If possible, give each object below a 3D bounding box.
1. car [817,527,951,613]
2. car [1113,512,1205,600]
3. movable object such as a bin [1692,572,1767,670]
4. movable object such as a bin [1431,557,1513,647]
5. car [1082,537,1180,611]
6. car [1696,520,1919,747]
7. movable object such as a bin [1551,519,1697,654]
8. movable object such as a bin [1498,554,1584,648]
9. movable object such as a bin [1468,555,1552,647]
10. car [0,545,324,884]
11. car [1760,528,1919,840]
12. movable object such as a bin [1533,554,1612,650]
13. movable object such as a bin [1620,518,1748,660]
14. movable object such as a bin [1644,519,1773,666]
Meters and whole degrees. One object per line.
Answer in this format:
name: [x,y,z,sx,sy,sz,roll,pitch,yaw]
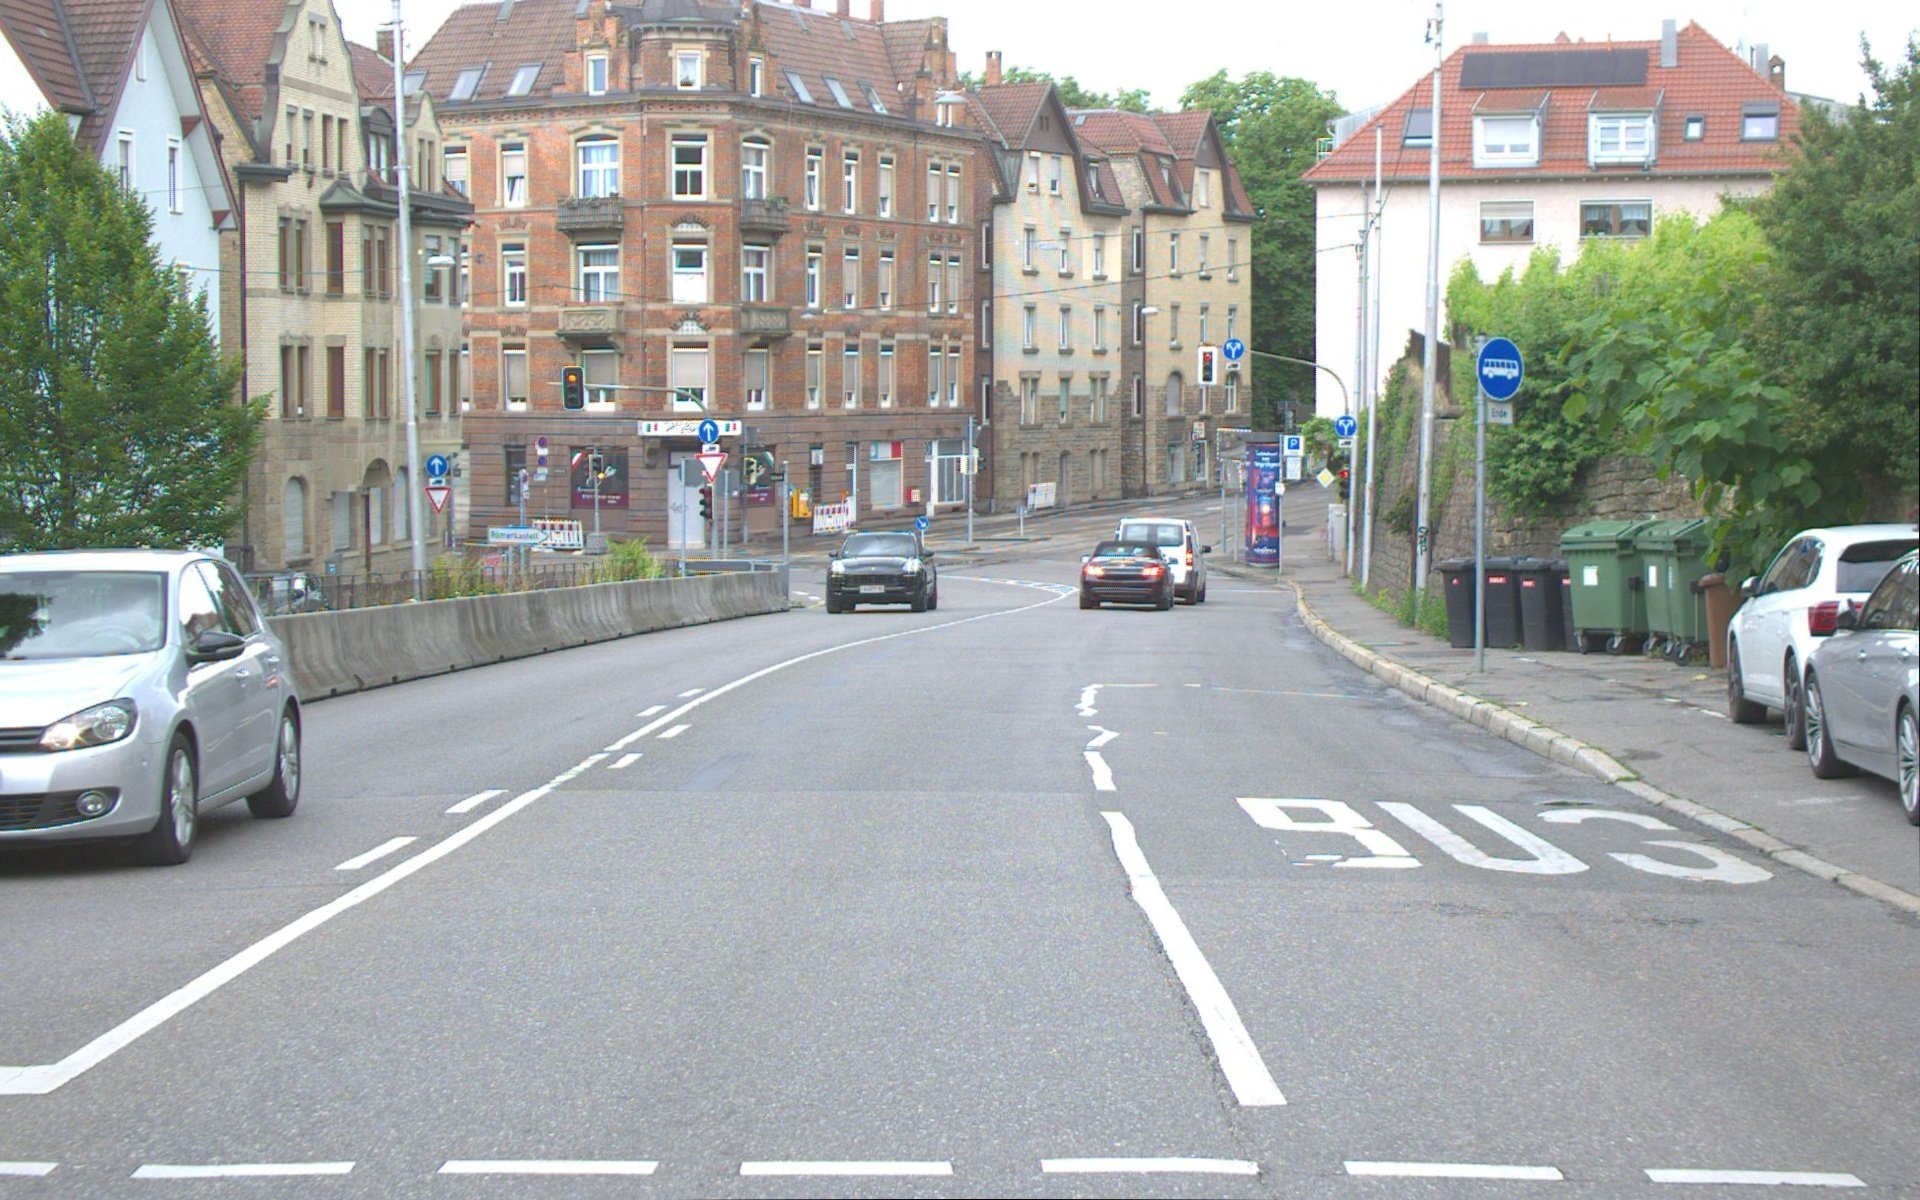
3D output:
car: [-1.462,-0.620,68.085,1.982,1.569,4.374,-2,1,7]
car: [4.487,-0.977,76.915,1.909,1.877,3.999,1,1,5]
movable object such as a bin: [7.492,0.204,33.493,0.594,0.939,0.640,0,0,2]
movable object such as a bin: [6.035,0.020,40.534,0.742,1.055,0.679,0,0,-14]
car: [3.509,-0.558,70.063,1.817,1.425,3.999,1,1,5]
car: [6.297,0.165,23.744,1.794,1.418,4.004,-2,1,4]
movable object such as a bin: [7.238,-0.149,37.547,1.047,1.440,1.419,0,0,-14]
movable object such as a bin: [6.615,0.008,39.148,0.742,1.055,0.679,0,0,-14]
movable object such as a bin: [6.377,0.011,39.890,0.742,1.055,0.679,0,0,-14]
car: [-4.376,0.472,16.821,1.720,1.440,4.159,-1,1,0]
car: [5.695,0.350,18.709,1.794,1.446,4.718,-4,1,4]
movable object such as a bin: [6.860,0.021,38.511,0.709,1.055,0.547,0,0,-14]
movable object such as a bin: [7.533,-0.116,35.811,1.047,1.440,1.205,0,0,-1]
movable object such as a bin: [7.492,-0.077,34.472,1.047,1.440,1.205,0,0,2]
